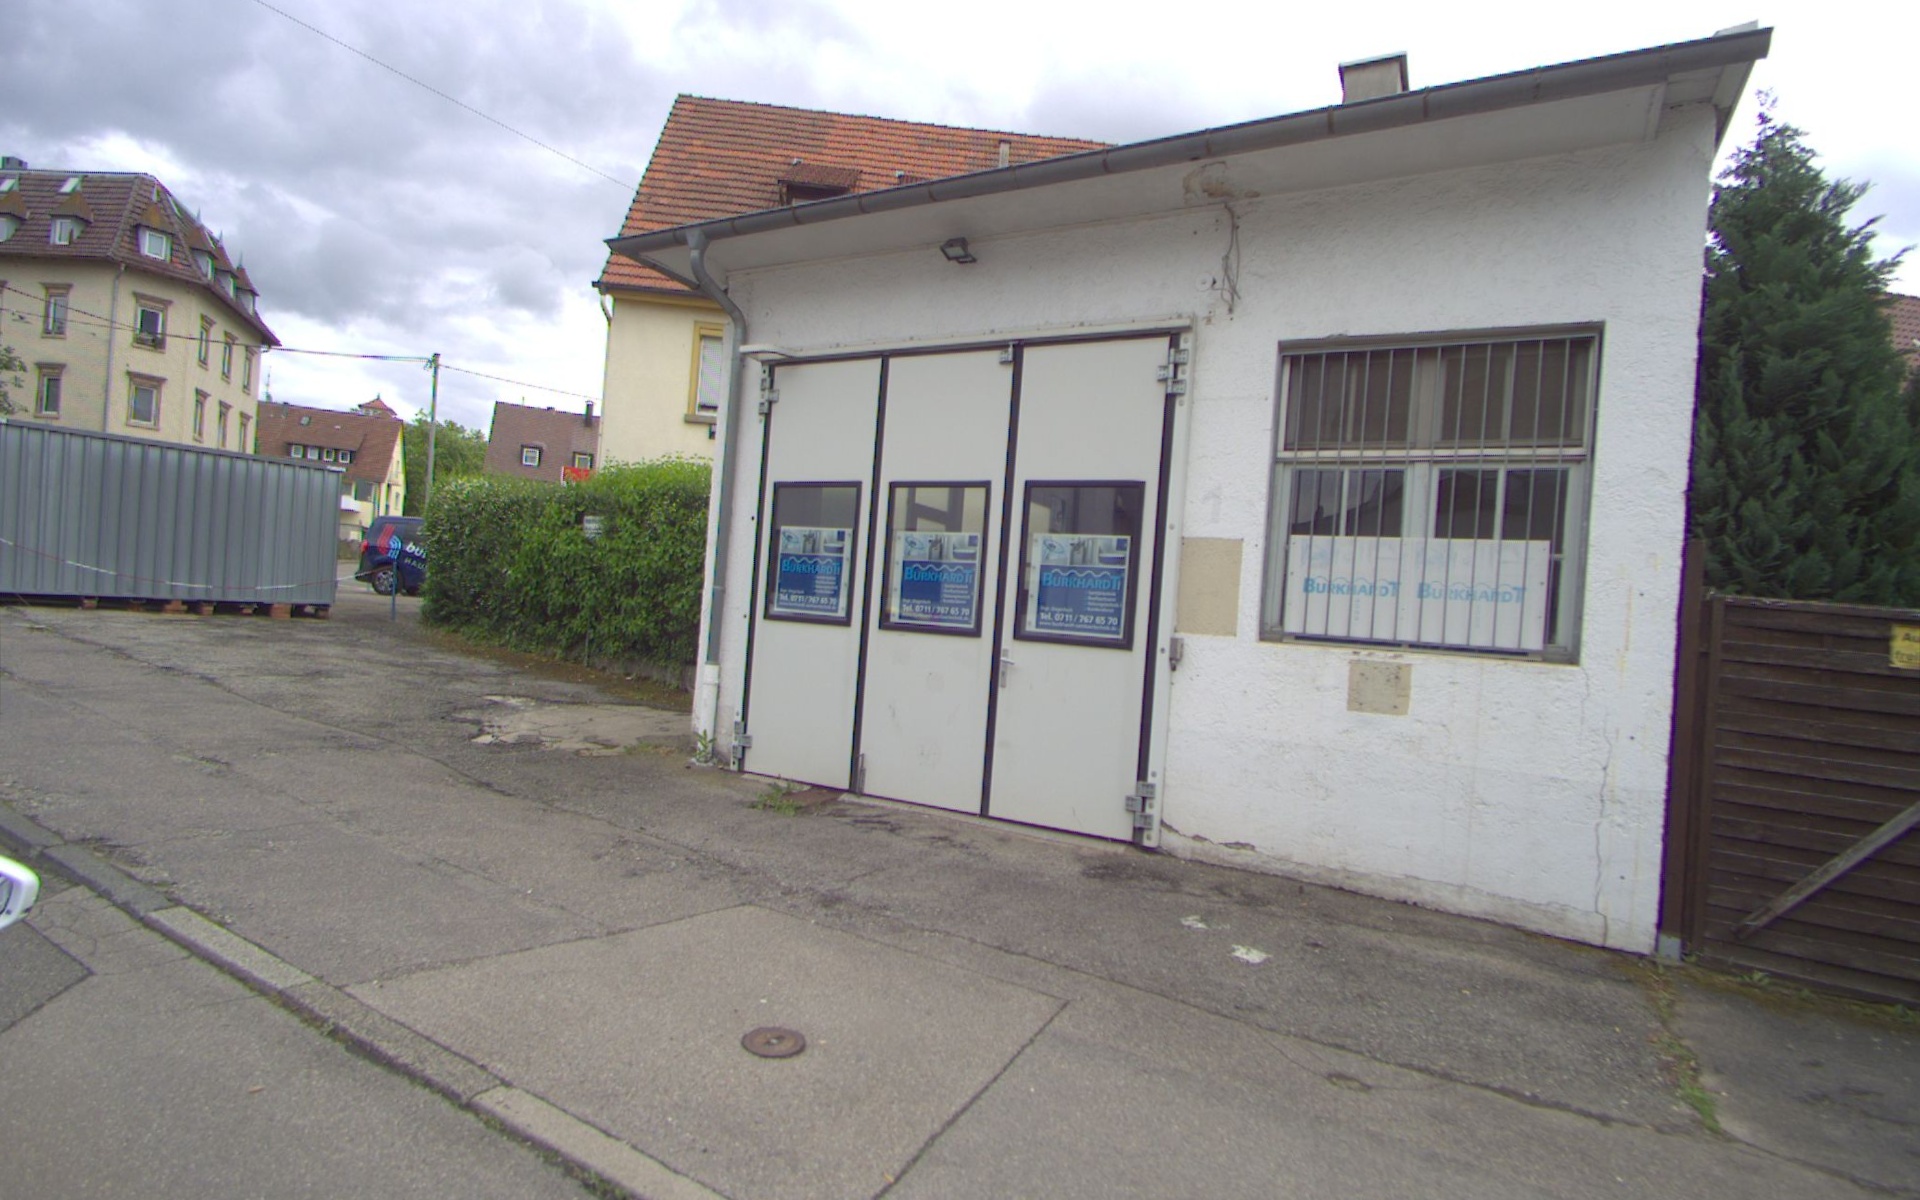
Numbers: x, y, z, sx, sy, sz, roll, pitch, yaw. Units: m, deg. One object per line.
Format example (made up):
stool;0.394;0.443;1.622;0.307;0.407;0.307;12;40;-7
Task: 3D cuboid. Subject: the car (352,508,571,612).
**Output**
car;-11.355;-0.861;23.147;3.928;1.747;1.870;7;-2;-4

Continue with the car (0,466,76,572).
car;-18.564;-1.643;18.547;4.491;1.762;1.749;6;2;26
